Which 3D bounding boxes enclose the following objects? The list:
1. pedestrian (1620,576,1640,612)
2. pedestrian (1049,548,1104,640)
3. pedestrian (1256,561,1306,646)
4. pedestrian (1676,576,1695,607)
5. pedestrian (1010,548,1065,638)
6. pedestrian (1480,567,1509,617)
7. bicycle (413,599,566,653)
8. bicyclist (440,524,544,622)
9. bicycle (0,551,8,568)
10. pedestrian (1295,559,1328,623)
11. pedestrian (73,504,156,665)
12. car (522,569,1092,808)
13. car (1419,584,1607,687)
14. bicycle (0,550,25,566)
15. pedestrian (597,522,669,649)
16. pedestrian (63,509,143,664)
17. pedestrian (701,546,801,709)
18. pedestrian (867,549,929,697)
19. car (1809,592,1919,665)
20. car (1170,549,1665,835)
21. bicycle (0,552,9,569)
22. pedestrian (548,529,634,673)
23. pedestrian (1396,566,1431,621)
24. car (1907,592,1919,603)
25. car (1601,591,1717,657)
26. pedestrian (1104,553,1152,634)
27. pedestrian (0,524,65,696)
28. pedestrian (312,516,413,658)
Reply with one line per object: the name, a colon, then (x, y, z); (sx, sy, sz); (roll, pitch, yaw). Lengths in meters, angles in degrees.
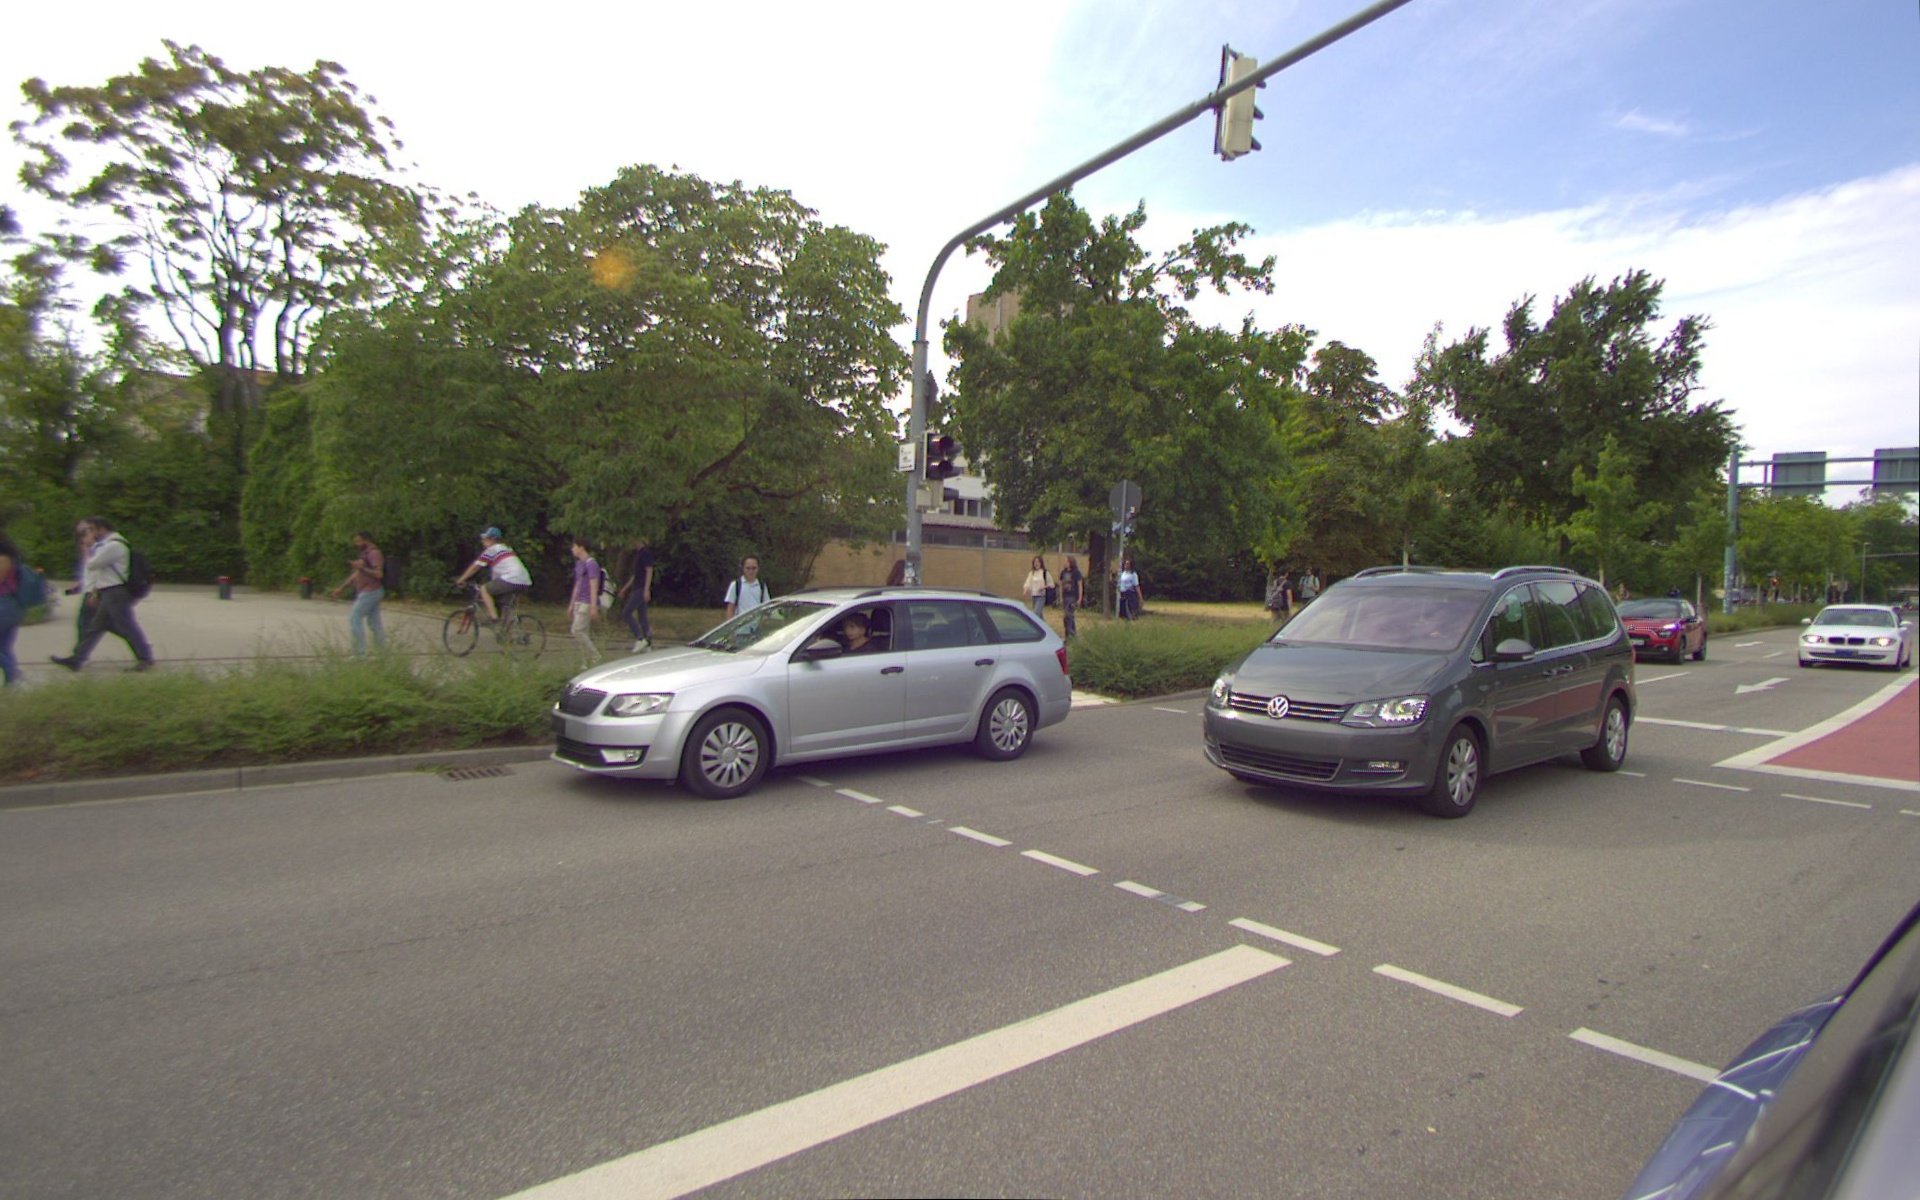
pedestrian: (32.672, -0.282, 49.348); (0.683, 1.732, 0.713); (0, 0, -44)
pedestrian: (2.269, -0.114, 19.682); (0.833, 1.732, 0.791); (0, 0, 32)
pedestrian: (6.661, 0.070, 21.001); (0.681, 1.732, 0.733); (0, 0, -40)
pedestrian: (40.188, -0.484, 56.055); (0.683, 1.732, 0.713); (0, 0, -44)
pedestrian: (1.544, -0.138, 20.178); (0.833, 1.732, 0.791); (0, 0, 32)
pedestrian: (18.852, -0.275, 35.689); (0.683, 1.732, 0.713); (0, 0, -44)
bicycle: (-6.448, 0.343, 13.903); (1.819, 0.702, 0.839); (0, 0, 16)
bicyclist: (-6.391, -0.363, 13.852); (0.999, 1.293, 0.835); (0, 0, 17)
bicycle: (-41.780, -1.725, 43.046); (1.810, 0.702, 0.652); (0, 0, -36)
pedestrian: (9.621, -0.245, 27.684); (0.543, 1.716, 0.684); (4, 3, 43)
pedestrian: (-9.501, -0.173, 11.385); (0.696, 1.732, 0.639); (0, 0, -40)
car: (-1.064, 0.529, 8.462); (4.449, 1.493, 1.823); (-1, 1, -41)
car: (9.189, 0.496, 16.695); (3.812, 1.508, 1.667); (-1, 1, -44)
bicycle: (-44.770, -1.960, 47.071); (1.810, 0.702, 0.652); (0, 0, -36)
pedestrian: (-4.914, -0.213, 15.206); (0.786, 1.831, 0.838); (0, 0, -40)
pedestrian: (-10.006, -0.158, 11.831); (0.696, 1.732, 0.639); (0, 0, -40)
pedestrian: (-2.339, 0.285, 11.315); (0.824, 1.732, 0.799); (0, 0, -38)
pedestrian: (-0.753, 0.265, 12.207); (0.577, 1.732, 0.481); (0, 0, -38)
car: (20.582, 0.565, 22.834); (4.154, 1.476, 1.756); (-1, 1, -44)
car: (3.841, 0.514, 8.076); (4.602, 1.671, 1.758); (-1, 0, -39)
bicycle: (-42.774, -1.734, 44.130); (1.810, 0.702, 0.652); (0, 0, -36)
pedestrian: (-4.664, 0.005, 12.790); (0.786, 1.732, 0.838); (0, 0, -40)
pedestrian: (14.475, -0.202, 32.323); (0.839, 1.732, 0.684); (0, 0, 43)
car: (172.721, -0.483, 183.029); (1.994, 2.039, 3.936); (0, 0, 44)
car: (16.451, 0.508, 23.766); (3.401, 1.433, 1.667); (-1, 1, -45)
pedestrian: (3.652, -0.140, 22.007); (0.712, 1.732, 0.787); (0, 0, 43)
pedestrian: (-9.023, 0.072, 9.584); (0.786, 1.561, 0.839); (0, 4, -40)
pedestrian: (-7.687, -0.168, 13.022); (0.995, 1.732, 0.838); (0, 0, -40)
